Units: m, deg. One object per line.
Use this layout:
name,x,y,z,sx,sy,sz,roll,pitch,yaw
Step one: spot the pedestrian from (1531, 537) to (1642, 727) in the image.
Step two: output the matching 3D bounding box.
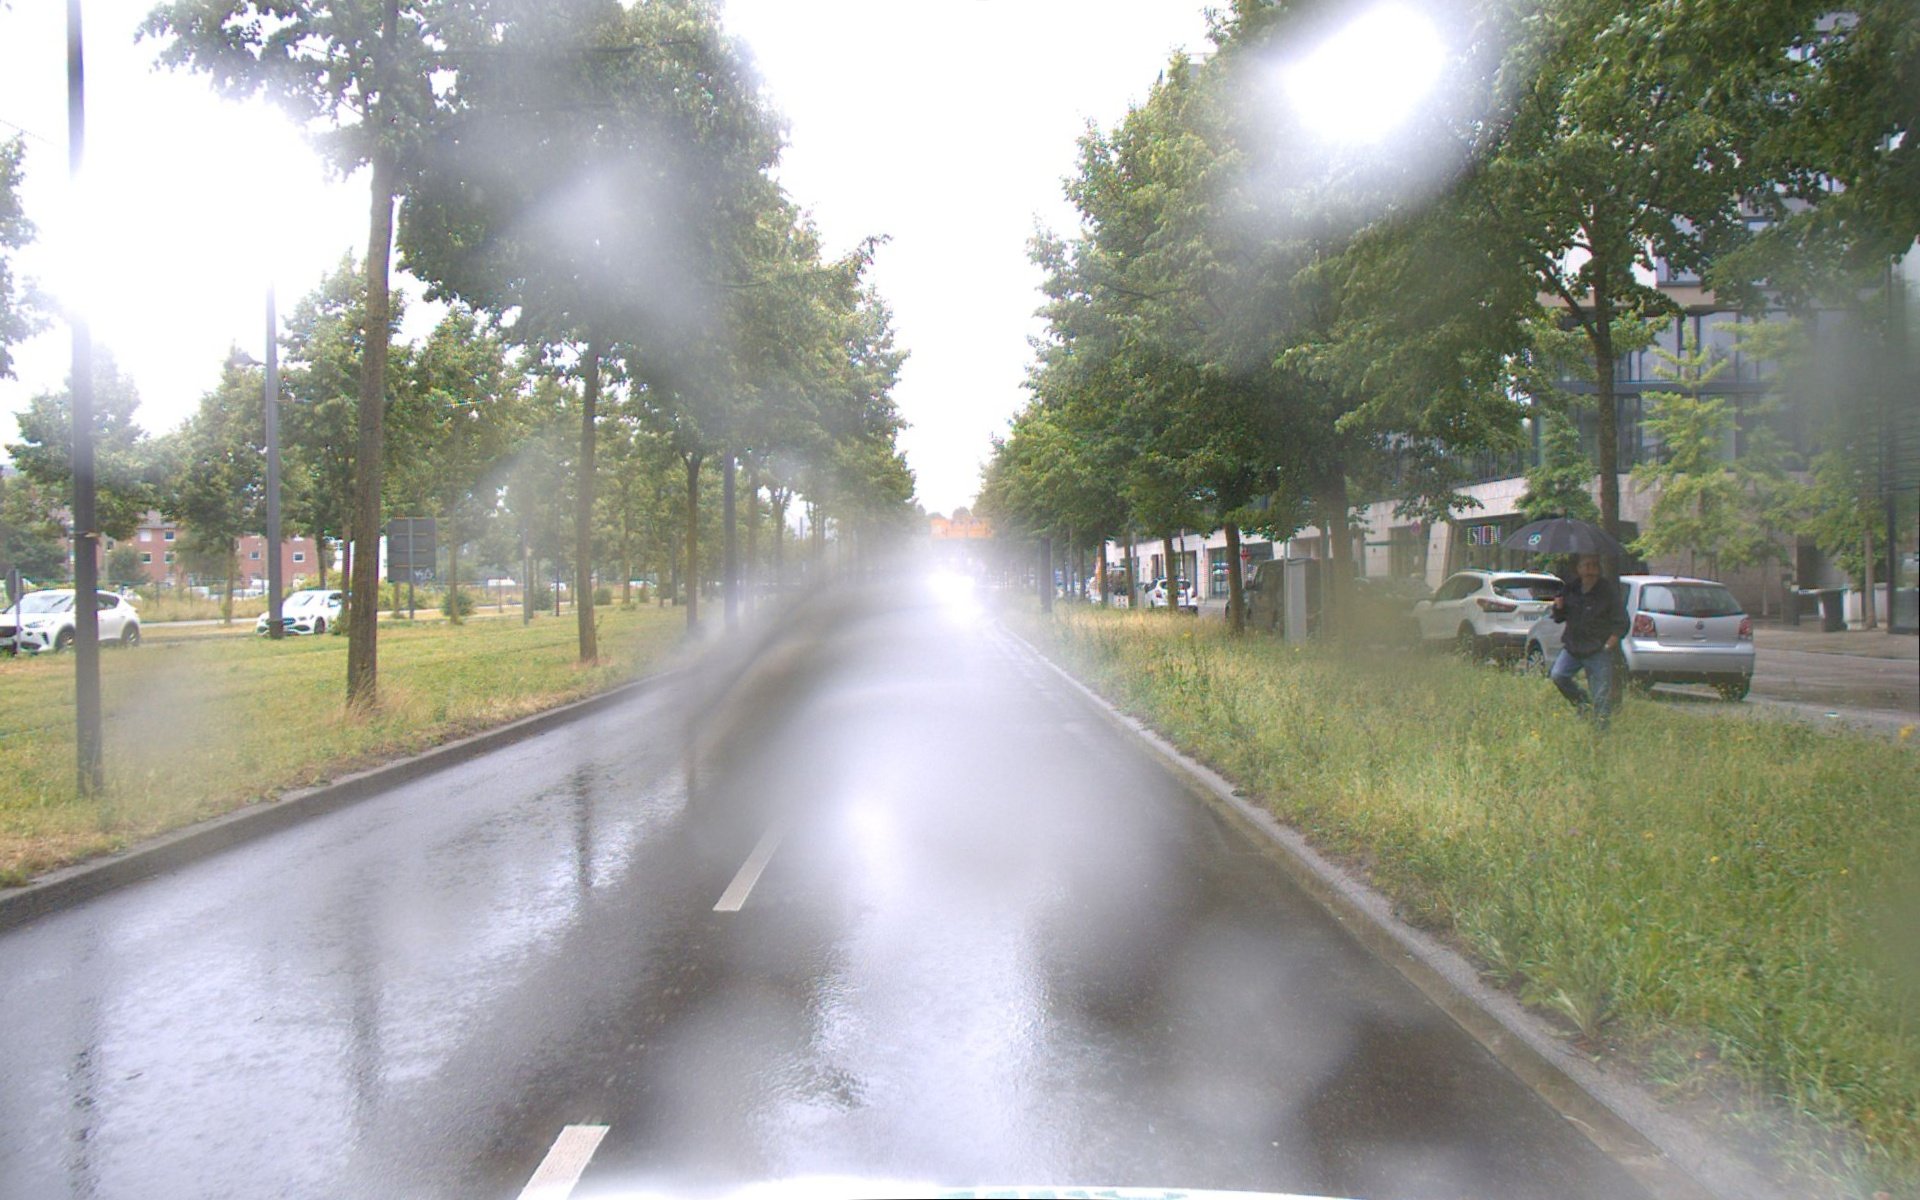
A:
pedestrian,5.151,0.248,13.628,0.629,1.519,0.699,0,0,-3

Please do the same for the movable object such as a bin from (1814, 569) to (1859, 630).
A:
movable object such as a bin,19.218,-0.018,36.273,0.596,1.298,0.648,-1,3,-5

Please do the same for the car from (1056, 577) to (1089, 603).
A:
car,7.537,-0.697,110.938,1.843,1.532,4.725,-1,3,0

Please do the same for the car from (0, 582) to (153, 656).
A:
car,-19.232,0.357,35.212,1.911,1.477,4.575,0,1,-1

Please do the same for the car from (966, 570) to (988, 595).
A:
car,1.497,-1.539,146.187,1.901,2.048,4.001,-1,3,0

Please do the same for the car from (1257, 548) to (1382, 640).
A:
car,8.710,-0.215,40.487,1.953,1.986,5.030,-1,3,0

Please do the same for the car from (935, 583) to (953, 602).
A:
car,-1.908,-0.920,201.580,1.952,2.048,4.002,-1,3,2

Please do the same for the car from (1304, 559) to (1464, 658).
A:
car,8.477,0.094,33.511,1.953,1.698,4.959,-1,3,0

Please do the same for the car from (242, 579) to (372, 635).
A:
car,-20.390,0.186,51.887,1.910,1.486,4.834,-1,3,3

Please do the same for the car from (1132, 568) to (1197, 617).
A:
car,7.965,-0.328,64.832,1.953,1.698,4.725,-1,3,0

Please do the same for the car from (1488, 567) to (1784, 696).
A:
car,8.632,0.323,21.632,1.734,1.477,4.721,0,1,-3

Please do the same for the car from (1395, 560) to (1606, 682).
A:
car,8.829,0.261,27.482,1.953,1.698,4.725,-1,3,0
